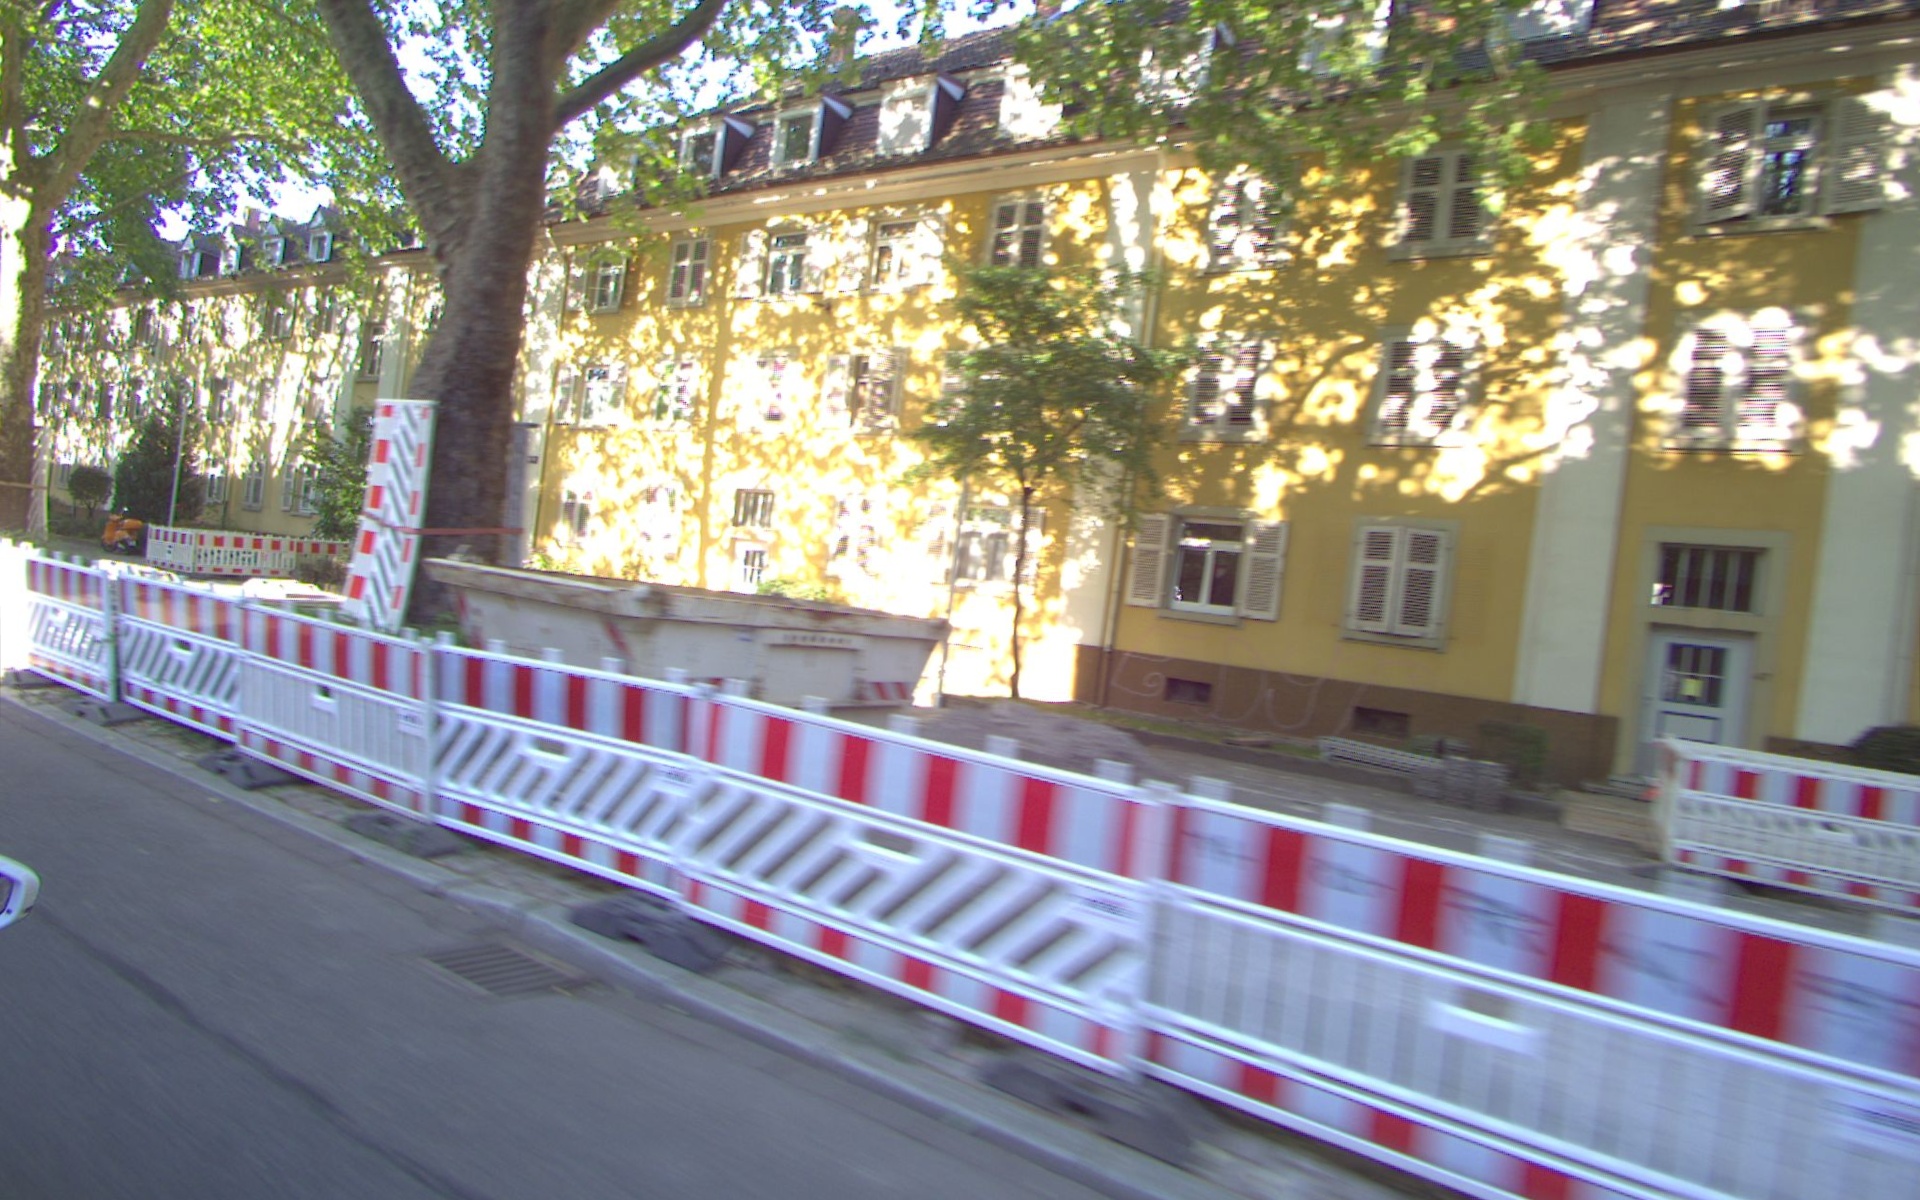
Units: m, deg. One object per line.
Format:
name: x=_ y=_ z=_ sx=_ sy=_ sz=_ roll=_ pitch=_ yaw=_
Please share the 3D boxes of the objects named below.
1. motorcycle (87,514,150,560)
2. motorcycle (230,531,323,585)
motorcycle: x=-25.575 y=-1.920 z=30.574 sx=2.226 sy=1.167 sz=0.716 roll=7 pitch=0 yaw=31
motorcycle: x=-19.659 y=-1.195 z=28.991 sx=0.701 sy=1.264 sz=1.994 roll=7 pitch=-2 yaw=30
